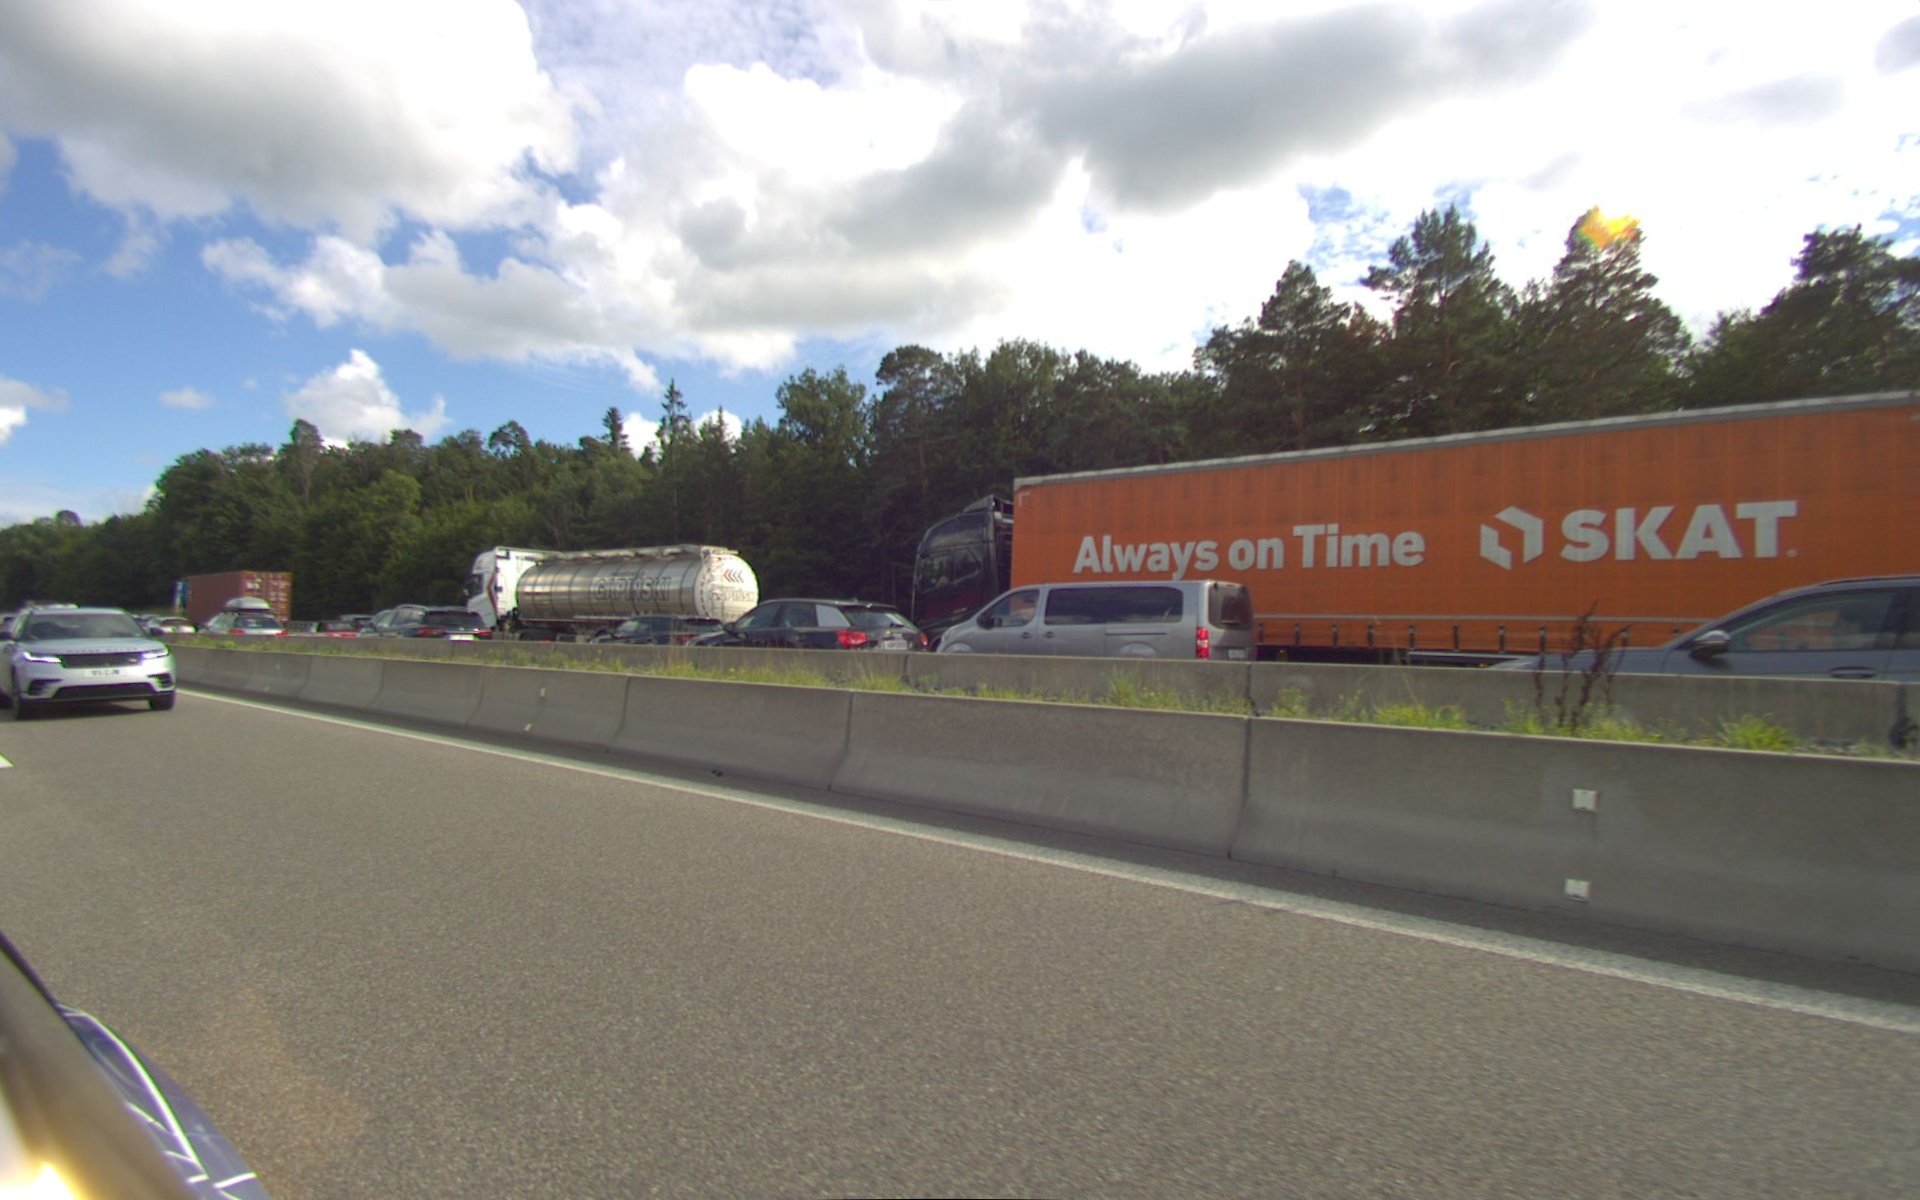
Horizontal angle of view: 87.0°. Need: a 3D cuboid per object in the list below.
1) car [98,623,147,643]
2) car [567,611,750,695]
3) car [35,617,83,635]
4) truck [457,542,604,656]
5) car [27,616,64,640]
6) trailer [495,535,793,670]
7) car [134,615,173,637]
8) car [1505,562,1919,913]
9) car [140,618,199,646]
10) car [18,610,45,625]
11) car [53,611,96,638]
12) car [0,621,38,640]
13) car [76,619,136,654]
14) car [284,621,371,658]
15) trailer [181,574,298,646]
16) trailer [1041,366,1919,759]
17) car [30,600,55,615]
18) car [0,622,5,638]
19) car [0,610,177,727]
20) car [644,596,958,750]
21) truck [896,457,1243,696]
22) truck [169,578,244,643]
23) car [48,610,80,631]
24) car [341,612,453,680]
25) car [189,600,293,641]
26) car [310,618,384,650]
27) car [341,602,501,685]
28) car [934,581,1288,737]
[{"bbox_3d":[-54.829,2.136,66.241,3.998,1.288,1.853,-1,-1,41],"label":"car"},{"bbox_3d":[-7.208,1.182,23.908,4.900,1.777,1.798,-1,-1,41],"label":"car"},{"bbox_3d":[-51.585,1.477,57.928,3.998,1.006,1.555,-1,-1,41],"label":"car"},{"bbox_3d":[-15.347,0.011,36.048,5.107,3.775,2.926,-1,-1,41],"label":"truck"},{"bbox_3d":[-78.893,2.399,87.307,3.999,2.029,1.972,-1,0,42],"label":"car"},{"bbox_3d":[-10.256,0.108,31.503,12.226,3.524,2.919,-1,0,41],"label":"trailer"},{"bbox_3d":[-59.936,1.947,75.223,3.620,1.551,1.669,-1,-1,41],"label":"car"},{"bbox_3d":[6.253,0.789,6.388,4.681,2.029,1.725,-1,0,42],"label":"car"},{"bbox_3d":[-42.656,1.705,54.561,4.388,1.408,1.671,-1,-1,40],"label":"car"},{"bbox_3d":[-105.898,1.993,115.393,3.611,1.609,1.924,-1,-1,41],"label":"car"},{"bbox_3d":[-67.190,1.835,76.793,3.998,2.029,1.973,-1,0,41],"label":"car"},{"bbox_3d":[-66.493,2.134,71.391,3.998,1.288,1.739,-1,-1,41],"label":"car"},{"bbox_3d":[-39.825,1.685,47.182,3.997,1.573,1.496,-1,-1,40],"label":"car"},{"bbox_3d":[-24.926,1.540,39.849,4.326,1.362,1.672,-1,-1,40],"label":"car"},{"bbox_3d":[-43.782,0.587,61.220,12.886,4.013,2.919,-1,0,41],"label":"trailer"},{"bbox_3d":[7.357,-0.381,15.819,13.171,4.352,2.612,-1,0,41],"label":"trailer"},{"bbox_3d":[-119.974,0.974,132.327,3.998,2.029,1.973,-1,0,41],"label":"car"},{"bbox_3d":[-77.265,2.383,80.333,3.998,1.288,1.739,-1,-1,41],"label":"car"},{"bbox_3d":[-14.634,1.036,16.646,5.103,1.619,1.880,-2,-1,42],"label":"car"},{"bbox_3d":[-2.466,0.950,14.765,4.900,1.896,1.798,-1,-1,41],"label":"car"},{"bbox_3d":[2.011,-0.344,20.539,6.715,4.102,2.587,-1,-1,41],"label":"truck"},{"bbox_3d":[-49.011,0.704,65.827,5.149,4.016,2.925,-1,-1,41],"label":"truck"},{"bbox_3d":[-91.783,2.097,103.671,3.998,2.029,1.973,-1,-1,41],"label":"car"},{"bbox_3d":[-18.808,1.481,33.755,4.475,2.122,1.798,-1,-1,40],"label":"car"},{"bbox_3d":[-22.241,0.621,31.254,4.353,1.182,1.579,-1,-1,40],"label":"car"},{"bbox_3d":[-28.755,1.565,47.412,4.387,1.447,1.672,-1,-1,40],"label":"car"},{"bbox_3d":[-12.621,0.954,23.547,4.903,1.759,1.797,-1,-1,43],"label":"car"},{"bbox_3d":[2.110,0.754,15.188,4.988,1.974,1.973,-1,0,41],"label":"car"}]
